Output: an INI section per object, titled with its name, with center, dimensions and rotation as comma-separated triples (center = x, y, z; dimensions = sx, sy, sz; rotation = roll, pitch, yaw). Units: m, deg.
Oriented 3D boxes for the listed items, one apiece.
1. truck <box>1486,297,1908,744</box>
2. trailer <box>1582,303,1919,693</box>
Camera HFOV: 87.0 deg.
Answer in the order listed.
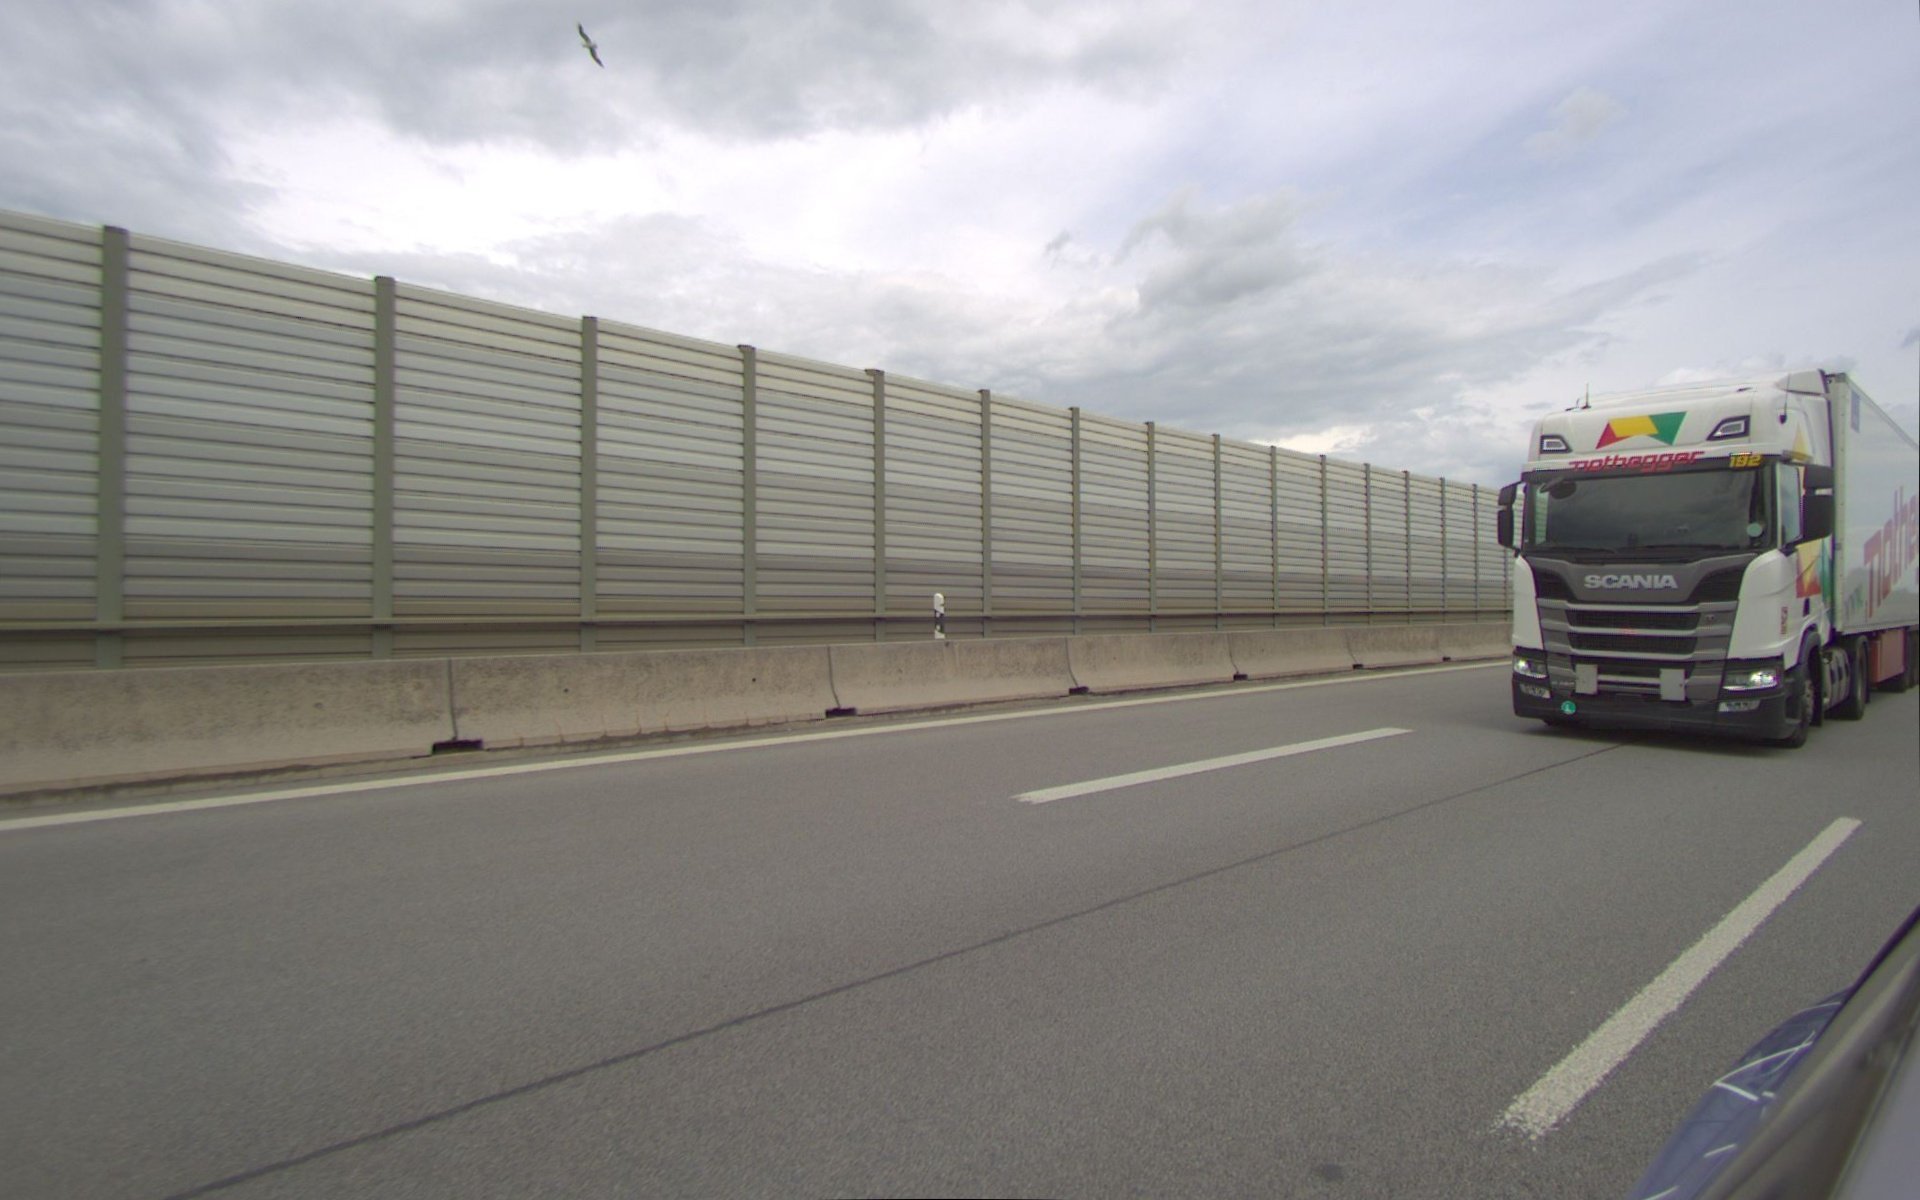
[truck]
center = 8.855, -0.719, 11.953
dimensions = 5.576, 4.009, 2.762
rotation = 1, 0, -40
[trailer]
center = 14.159, -1.089, 16.625
dimensions = 13.857, 4.227, 2.797
rotation = 0, 0, -42
